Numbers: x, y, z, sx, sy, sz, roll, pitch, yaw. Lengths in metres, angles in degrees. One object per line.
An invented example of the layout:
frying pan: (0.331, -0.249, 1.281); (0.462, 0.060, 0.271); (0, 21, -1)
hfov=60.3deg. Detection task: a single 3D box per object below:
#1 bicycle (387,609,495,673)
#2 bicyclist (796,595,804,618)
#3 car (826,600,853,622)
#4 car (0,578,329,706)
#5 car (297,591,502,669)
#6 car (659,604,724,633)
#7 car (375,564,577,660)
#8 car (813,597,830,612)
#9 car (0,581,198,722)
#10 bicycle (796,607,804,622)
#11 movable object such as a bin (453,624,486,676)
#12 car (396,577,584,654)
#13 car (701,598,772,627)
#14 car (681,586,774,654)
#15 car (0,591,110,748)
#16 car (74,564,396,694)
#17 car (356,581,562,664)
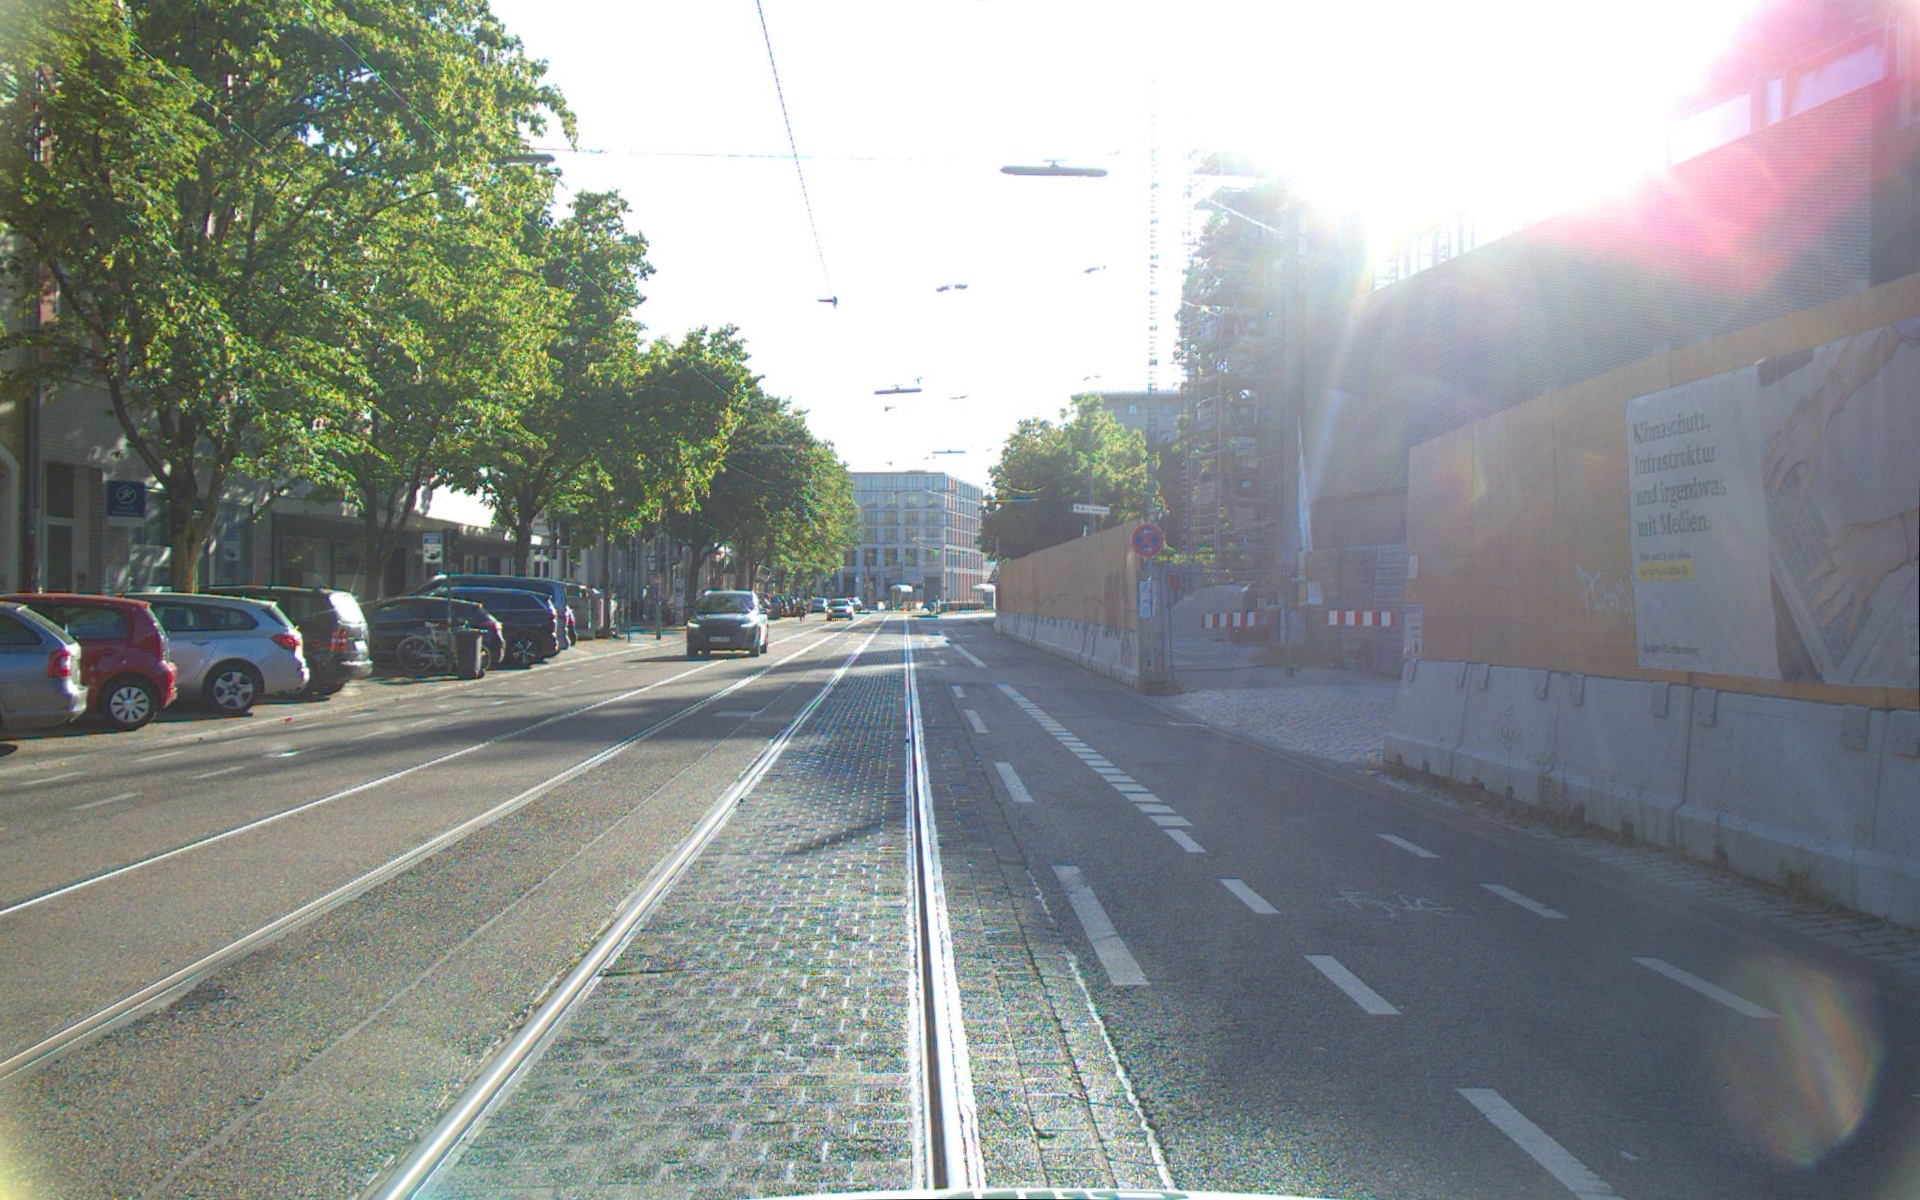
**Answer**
bicycle: (-10.043, 0.788, 32.042); (1.936, 1.164, 0.490); (2, -1, -21)
bicyclist: (-9.937, 0.408, 102.826); (0.449, 1.402, 0.640); (0, 0, -7)
car: (-8.140, 0.709, 111.638); (1.675, 1.461, 4.169); (0, 0, -2)
car: (-10.631, 0.556, 21.851); (4.058, 1.539, 1.824); (2, 0, -29)
car: (-11.224, 0.577, 33.214); (3.799, 1.502, 1.833); (0, 0, -20)
car: (-13.186, 0.900, 81.233); (2.902, 1.355, 1.203); (0, 0, -30)
car: (-11.332, 0.296, 38.730); (4.296, 2.021, 1.935); (3, -1, -24)
car: (-14.194, 0.515, 169.588); (1.541, 1.516, 3.998); (0, 0, -2)
car: (-10.652, 0.571, 18.949); (3.327, 1.519, 1.597); (3, 0, -30)
bicycle: (-9.962, 0.891, 102.826); (0.440, 0.896, 1.898); (0, 0, -7)
movable object such as a bin: (-9.298, 0.946, 31.353); (0.566, 0.929, 0.572); (2, 0, -18)
car: (-11.778, 0.397, 41.451); (4.230, 1.695, 1.896); (3, -1, -26)
car: (-13.924, 0.786, 102.952); (4.115, 1.751, 1.568); (1, -1, -30)
car: (-5.939, 0.480, 42.668); (1.889, 1.658, 4.247); (-1, 0, -1)
car: (-10.393, 0.626, 16.109); (3.634, 1.496, 1.735); (3, -1, -31)
car: (-10.986, 0.437, 25.302); (4.024, 1.707, 1.839); (3, -1, -5)
car: (-10.972, 0.465, 36.218); (4.178, 1.714, 1.798); (-1, 0, -23)
